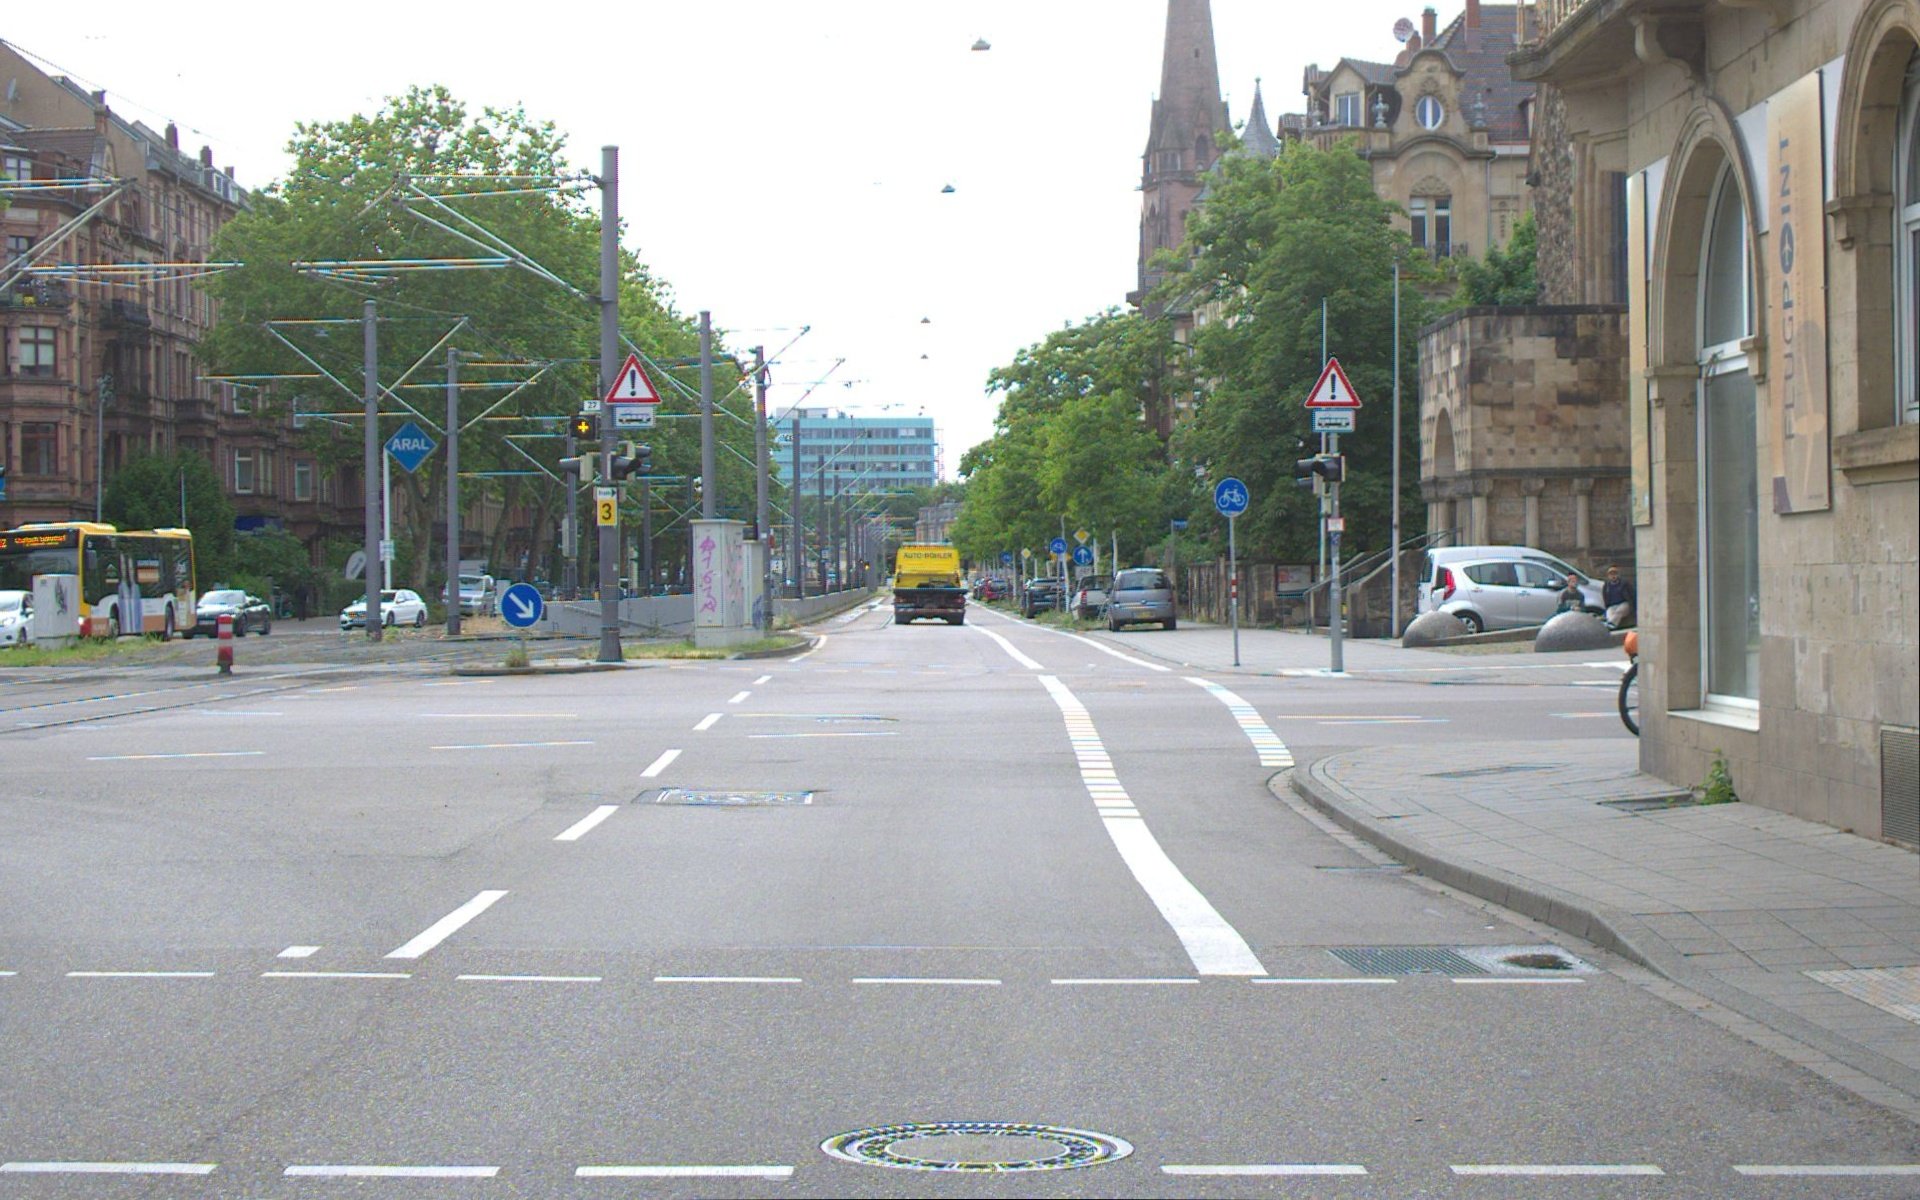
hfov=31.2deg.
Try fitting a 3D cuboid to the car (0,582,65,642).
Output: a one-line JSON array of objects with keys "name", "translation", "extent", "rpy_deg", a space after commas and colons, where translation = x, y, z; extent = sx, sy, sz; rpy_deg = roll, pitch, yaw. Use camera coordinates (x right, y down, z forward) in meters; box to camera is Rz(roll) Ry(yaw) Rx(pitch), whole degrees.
[{"name": "car", "translation": [-21.911, 0.256, 79.054], "extent": [1.656, 1.316, 3.638], "rpy_deg": [1, 1, 1]}]

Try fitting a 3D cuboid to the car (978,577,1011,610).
[{"name": "car", "translation": [2.185, -0.408, 216.847], "extent": [1.993, 2.007, 4.000], "rpy_deg": [1, 1, -1]}]

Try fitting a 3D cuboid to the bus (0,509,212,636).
[{"name": "bus", "translation": [-22.479, -0.734, 89.103], "extent": [3.231, 3.025, 12.311], "rpy_deg": [1, 1, 1]}]

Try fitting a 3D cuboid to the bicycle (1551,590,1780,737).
[{"name": "bicycle", "translation": [6.310, 0.557, 30.720], "extent": [1.991, 1.268, 0.751], "rpy_deg": [1, 1, -30]}]

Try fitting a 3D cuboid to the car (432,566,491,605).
[{"name": "car", "translation": [-21.634, -0.643, 149.346], "extent": [1.993, 1.605, 4.000], "rpy_deg": [1, 1, -1]}]

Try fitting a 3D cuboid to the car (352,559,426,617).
[{"name": "car", "translation": [-20.442, -0.440, 123.214], "extent": [1.993, 2.007, 4.000], "rpy_deg": [1, 1, -1]}]

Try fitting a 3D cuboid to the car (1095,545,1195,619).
[{"name": "car", "translation": [4.866, -0.476, 89.995], "extent": [1.994, 1.849, 4.024], "rpy_deg": [1, 1, 12]}]

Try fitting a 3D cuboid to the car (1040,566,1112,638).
[{"name": "car", "translation": [3.341, 0.028, 99.647], "extent": [1.993, 2.007, 4.000], "rpy_deg": [1, 1, 1]}]

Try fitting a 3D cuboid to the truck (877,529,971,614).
[{"name": "truck", "translation": [-1.191, -0.993, 117.645], "extent": [3.055, 2.760, 9.816], "rpy_deg": [0, 1, 0]}]

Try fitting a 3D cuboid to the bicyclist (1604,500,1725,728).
[{"name": "bicyclist", "translation": [6.290, 0.120, 30.722], "extent": [0.692, 2.007, 0.783], "rpy_deg": [1, 0, -29]}]

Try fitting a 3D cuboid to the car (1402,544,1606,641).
[{"name": "car", "translation": [10.792, -0.164, 68.416], "extent": [3.713, 1.849, 2.000], "rpy_deg": [1, 0, 0]}]

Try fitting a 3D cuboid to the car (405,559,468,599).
[{"name": "car", "translation": [-21.542, -0.883, 141.529], "extent": [1.993, 1.605, 4.000], "rpy_deg": [1, 1, -1]}]

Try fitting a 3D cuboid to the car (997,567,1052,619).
[{"name": "car", "translation": [2.534, -0.280, 136.000], "extent": [1.993, 2.007, 4.000], "rpy_deg": [1, 1, -1]}]

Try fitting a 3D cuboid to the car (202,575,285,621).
[{"name": "car", "translation": [-21.491, -0.065, 103.162], "extent": [1.656, 1.316, 3.638], "rpy_deg": [1, 1, 1]}]

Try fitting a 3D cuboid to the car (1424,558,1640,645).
[{"name": "car", "translation": [10.764, 0.014, 64.893], "extent": [3.713, 1.558, 2.000], "rpy_deg": [1, 0, 0]}]
